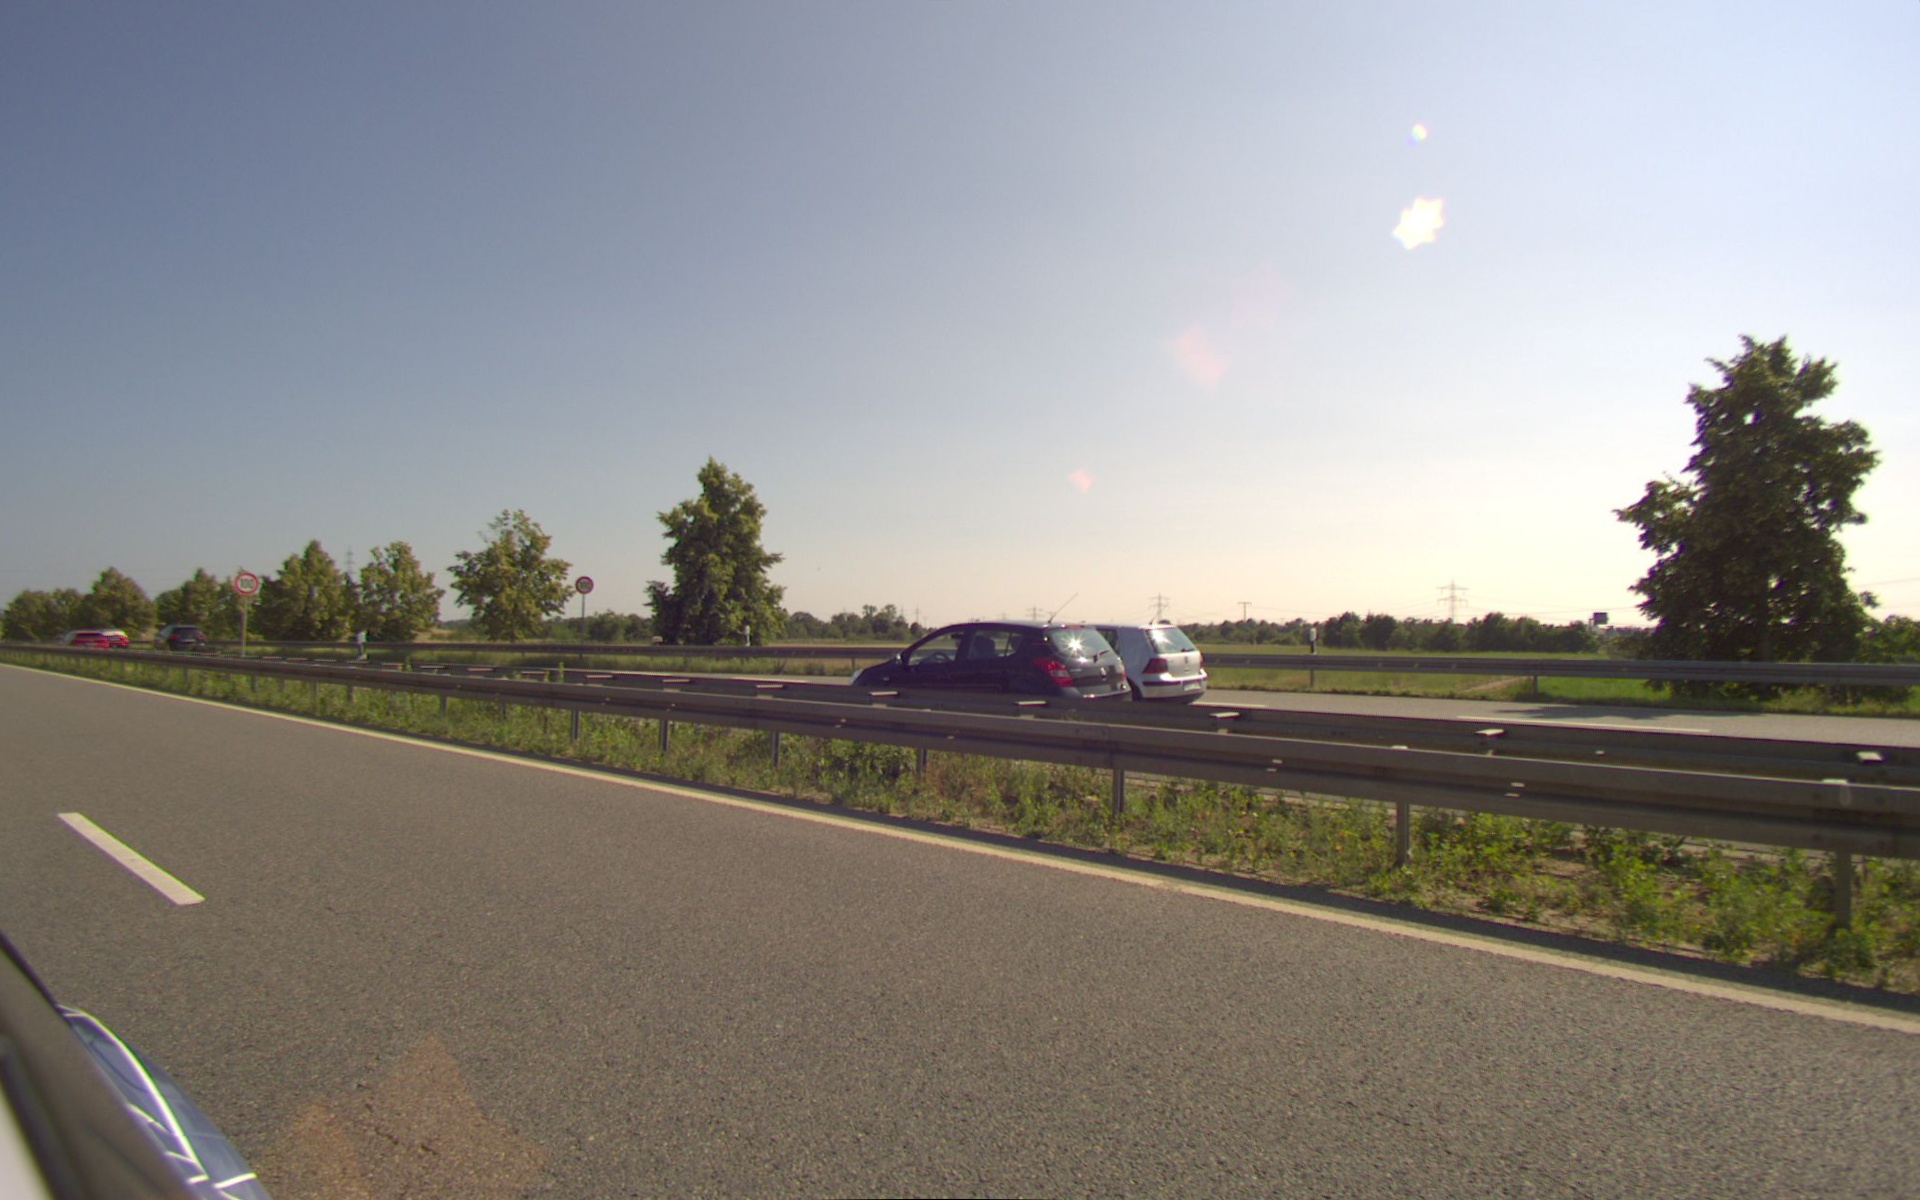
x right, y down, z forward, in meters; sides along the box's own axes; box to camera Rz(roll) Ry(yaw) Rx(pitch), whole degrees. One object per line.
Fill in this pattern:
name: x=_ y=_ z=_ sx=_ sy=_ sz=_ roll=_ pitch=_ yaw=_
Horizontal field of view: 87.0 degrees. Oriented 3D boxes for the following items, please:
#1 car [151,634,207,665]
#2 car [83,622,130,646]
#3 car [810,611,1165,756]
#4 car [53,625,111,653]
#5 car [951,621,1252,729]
car: x=-43.377 y=2.726 z=56.203 sx=4.219 sy=1.608 sz=1.708 roll=-2 pitch=-1 yaw=41
car: x=-60.200 y=2.365 z=71.353 sx=4.771 sy=1.605 sz=1.824 roll=-2 pitch=-1 yaw=42
car: x=0.199 y=0.925 z=12.795 sx=4.413 sy=1.481 sz=1.695 roll=-1 pitch=0 yaw=42
car: x=-50.271 y=2.214 z=57.924 sx=5.093 sy=1.504 sz=1.856 roll=-1 pitch=-1 yaw=41
car: x=2.104 y=1.073 z=15.869 sx=4.413 sy=1.406 sz=1.802 roll=-1 pitch=0 yaw=42
